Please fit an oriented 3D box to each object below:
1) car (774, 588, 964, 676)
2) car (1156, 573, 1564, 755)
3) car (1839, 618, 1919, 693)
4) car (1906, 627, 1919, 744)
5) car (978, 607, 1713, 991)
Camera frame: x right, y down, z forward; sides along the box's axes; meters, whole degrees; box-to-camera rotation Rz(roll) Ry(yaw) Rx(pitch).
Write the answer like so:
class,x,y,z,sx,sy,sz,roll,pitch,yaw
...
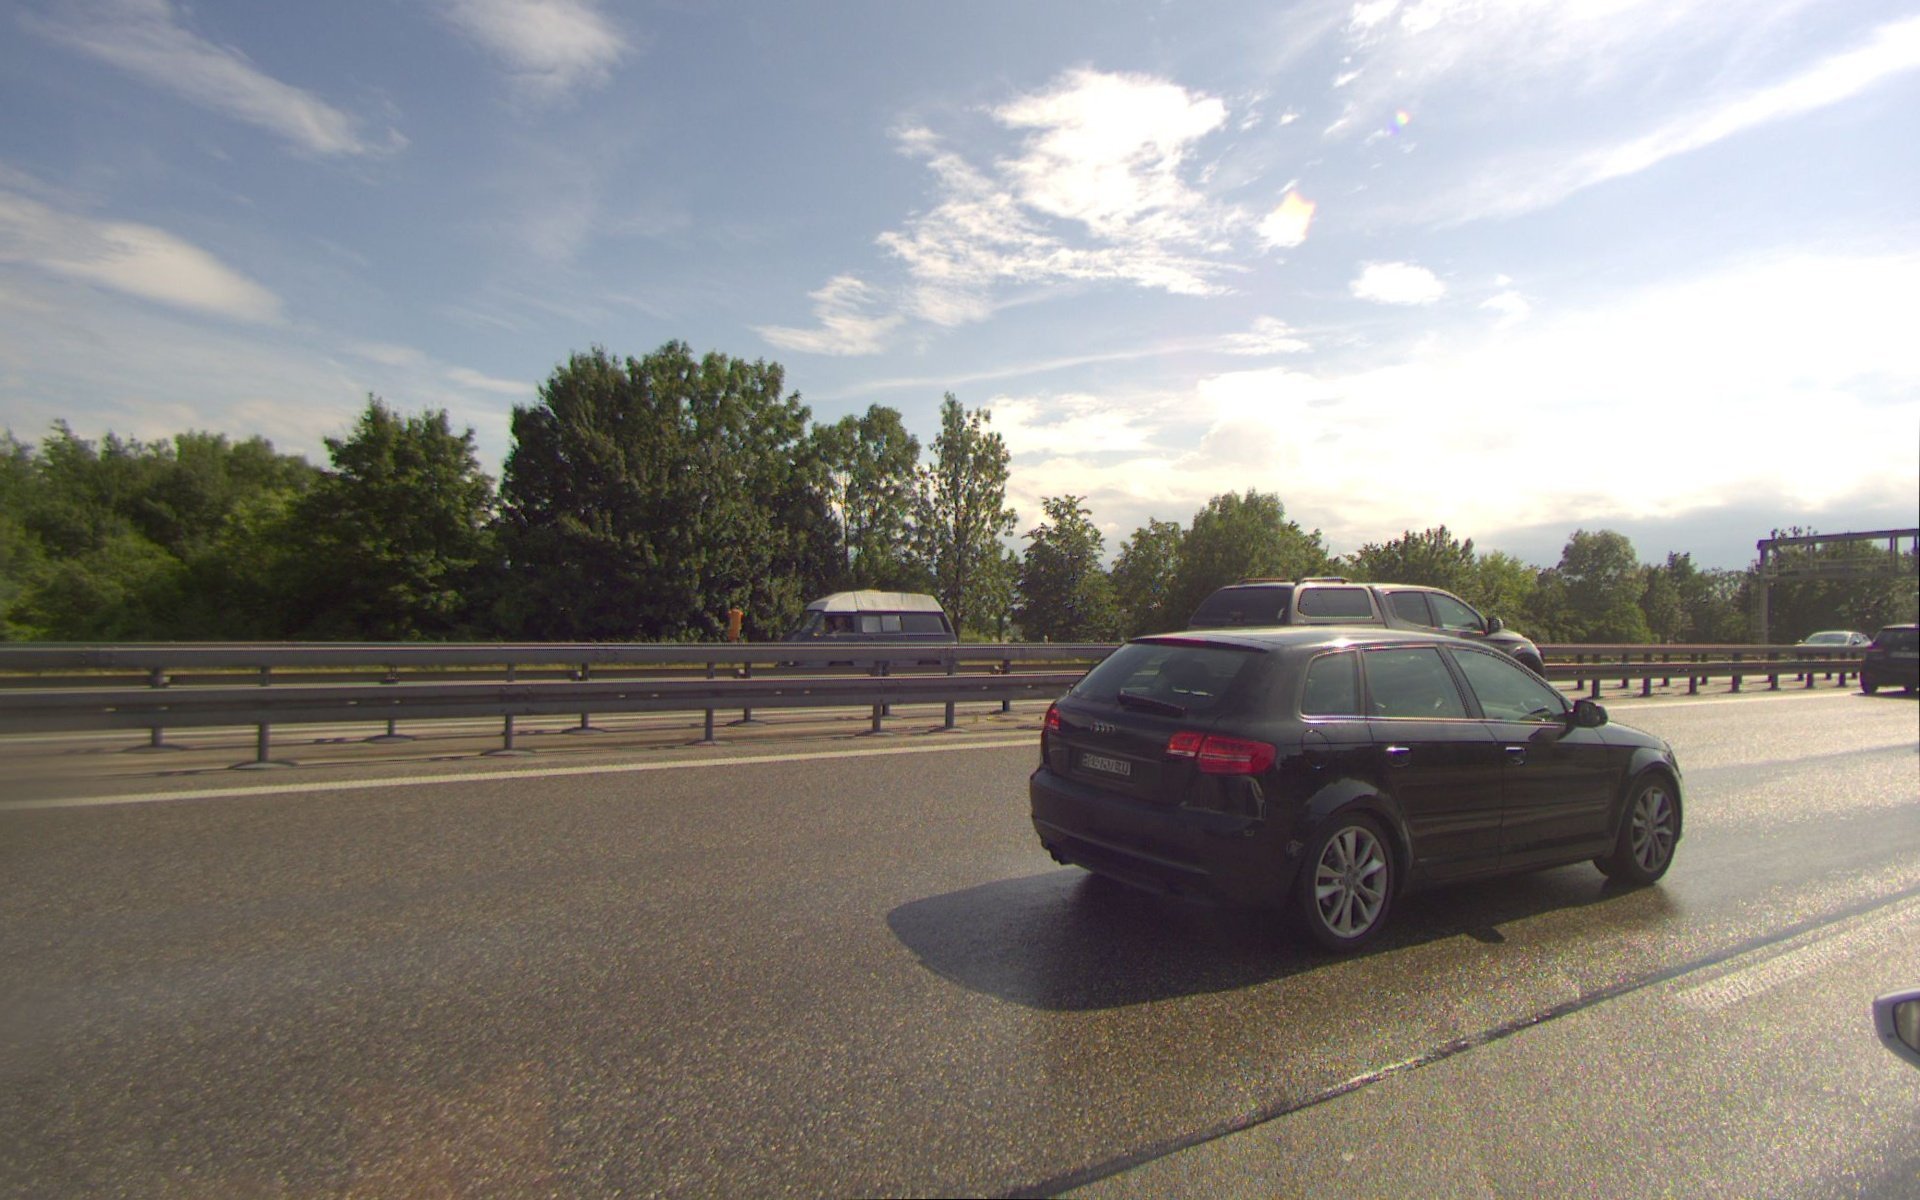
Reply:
class,x,y,z,sx,sy,sz,roll,pitch,yaw
car,-2.256,0.777,25.278,4.315,2.040,1.982,1,0,-33
car,5.095,0.711,12.496,5.354,1.869,1.798,1,0,-30
car,22.257,1.250,23.291,3.872,1.599,1.773,1,0,-32
car,14.108,1.120,12.931,3.953,1.462,1.750,1,0,-30
car,2.261,0.807,5.625,4.007,1.452,1.741,1,0,-31
